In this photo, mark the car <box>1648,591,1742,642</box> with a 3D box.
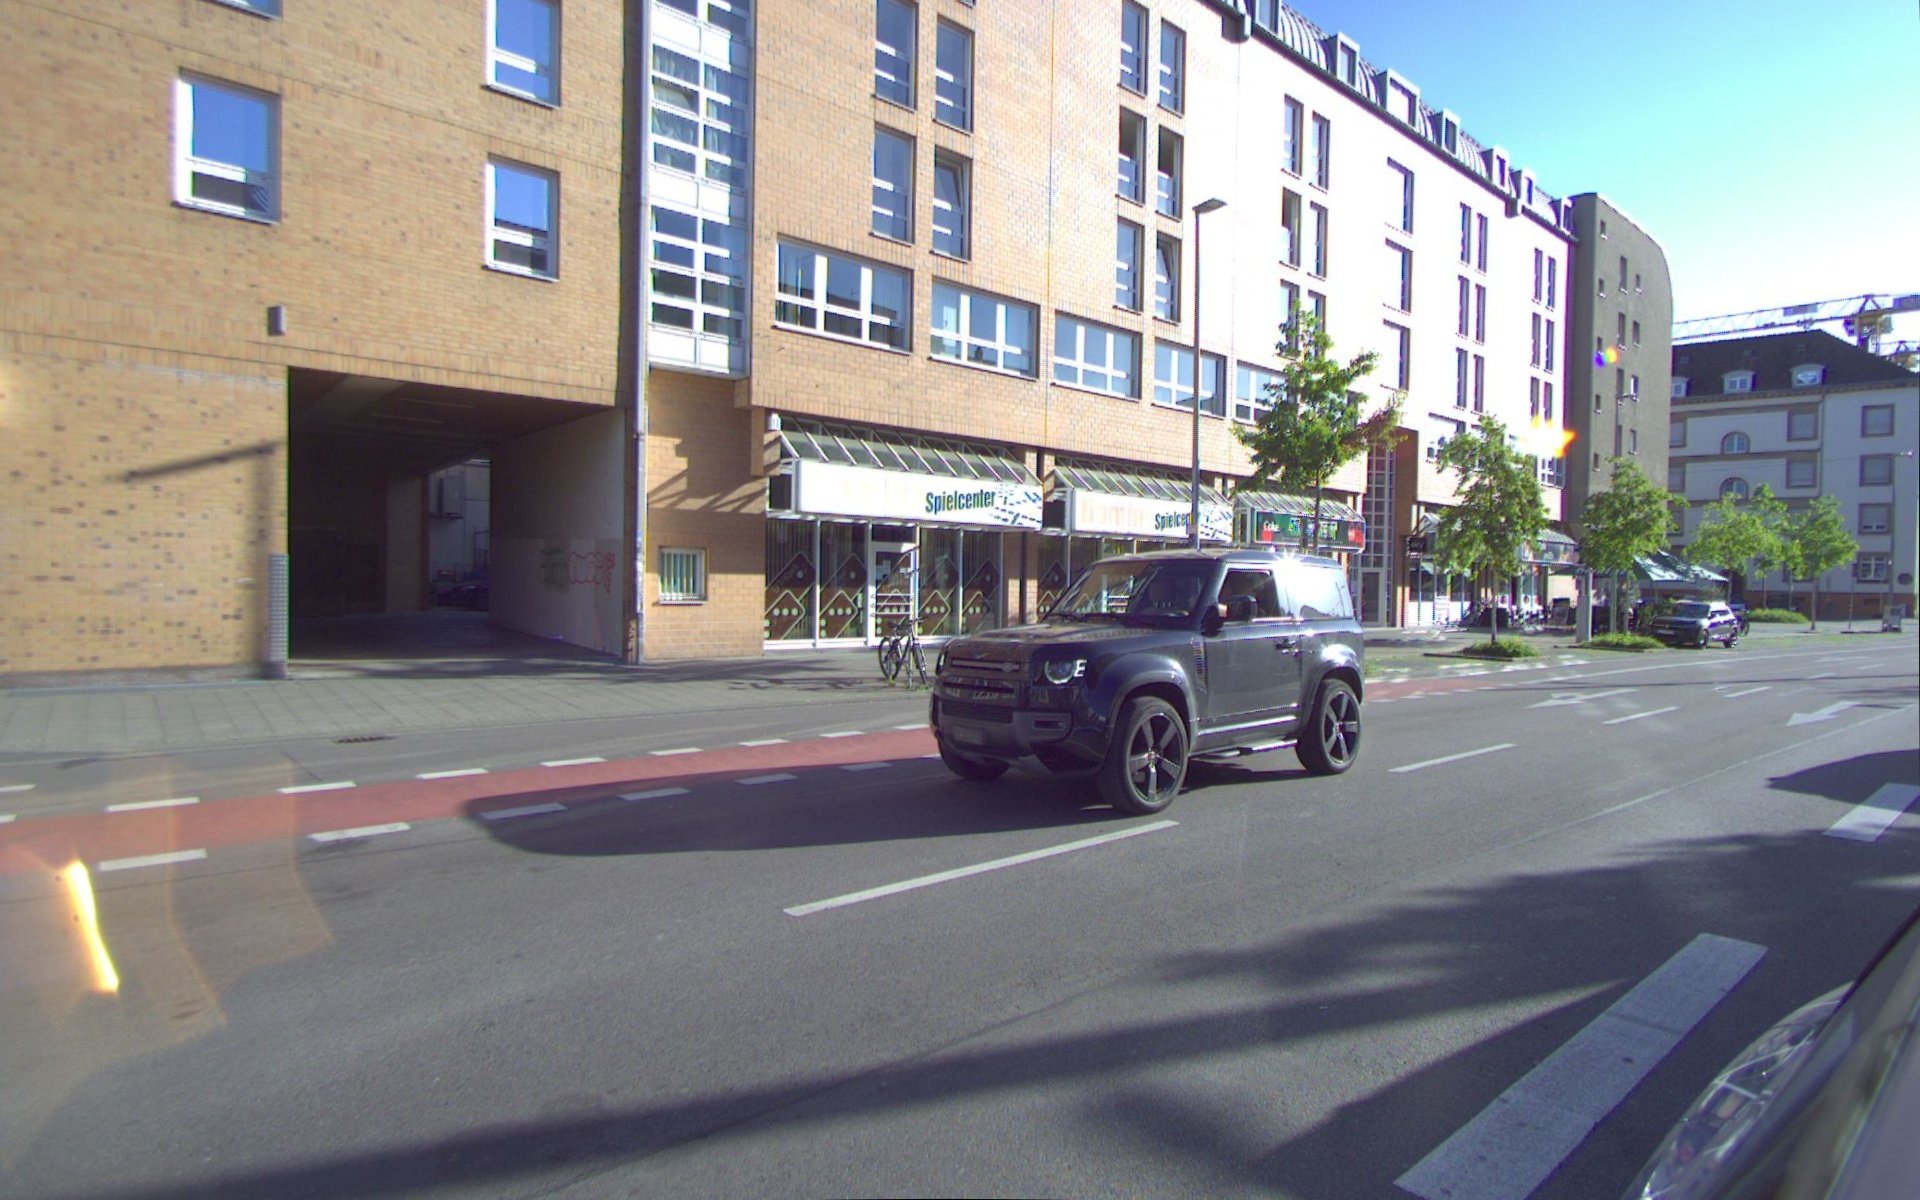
[{"bbox_3d":[25.749,0.536,35.418,3.929,1.660,1.778,0,1,-41],"label":"car"}]

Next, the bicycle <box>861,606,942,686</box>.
[{"bbox_3d":[-0.965,0.706,16.275,0.423,1.089,1.776,-1,4,-35],"label":"bicycle"}]

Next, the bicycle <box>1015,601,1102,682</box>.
[{"bbox_3d":[1.644,0.673,17.188,0.553,1.177,1.843,0,3,-26],"label":"bicycle"}]

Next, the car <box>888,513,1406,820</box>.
[{"bbox_3d":[1.778,0.444,8.693,4.395,1.939,2.162,1,-1,-42],"label":"car"}]

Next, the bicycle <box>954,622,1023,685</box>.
[{"bbox_3d":[0.448,0.870,16.910,0.359,0.842,1.779,0,3,-26],"label":"bicycle"}]
